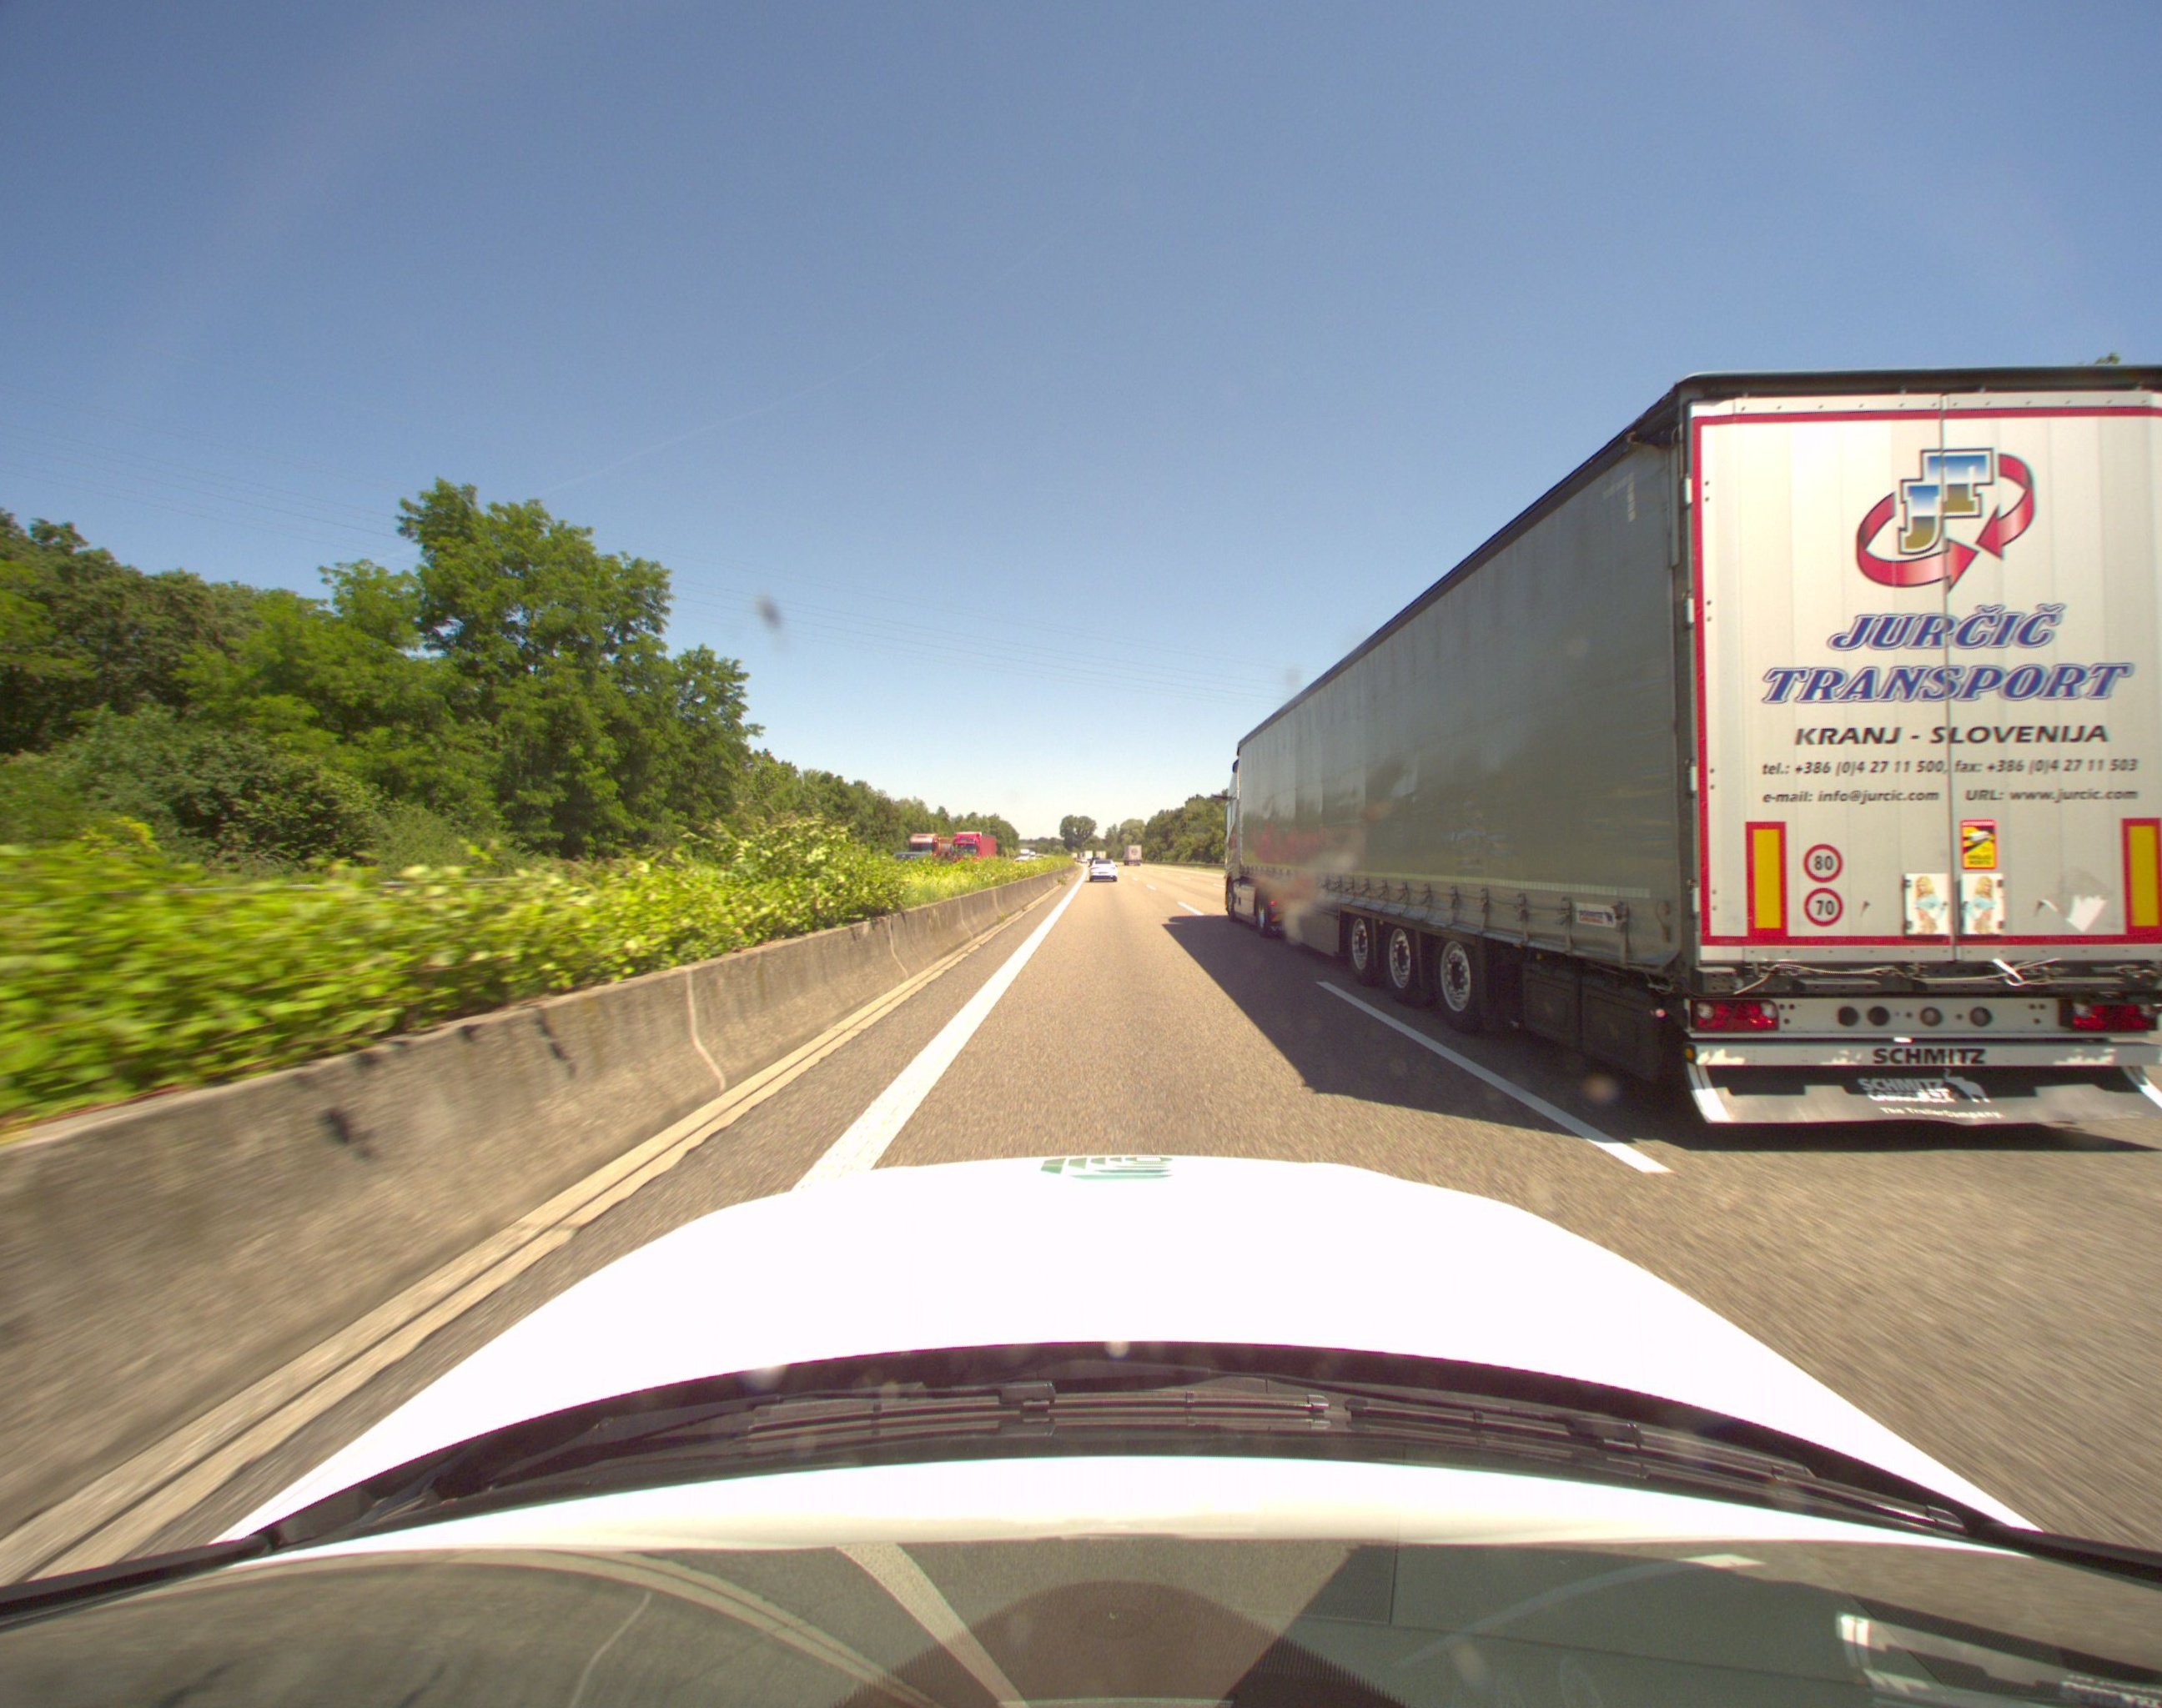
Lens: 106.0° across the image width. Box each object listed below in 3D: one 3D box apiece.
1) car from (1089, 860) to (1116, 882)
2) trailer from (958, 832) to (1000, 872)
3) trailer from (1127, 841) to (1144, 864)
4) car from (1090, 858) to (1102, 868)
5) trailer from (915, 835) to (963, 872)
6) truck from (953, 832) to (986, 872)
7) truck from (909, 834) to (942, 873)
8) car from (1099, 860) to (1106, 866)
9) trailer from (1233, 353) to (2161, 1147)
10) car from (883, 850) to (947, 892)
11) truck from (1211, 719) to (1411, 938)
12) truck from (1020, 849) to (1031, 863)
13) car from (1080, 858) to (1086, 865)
[{"bbox_3d":[1.444,1.113,53.529,1.709,1.369,3.377,0,0,2],"label":"car"},{"bbox_3d":[-10.742,-0.126,87.211,2.457,3.936,14.400,0,0,1],"label":"trailer"},{"bbox_3d":[10.757,-0.219,161.560,2.615,4.261,14.060,0,0,1],"label":"trailer"},{"bbox_3d":[2.635,1.526,138.841,1.986,1.772,4.001,0,0,1],"label":"car"},{"bbox_3d":[-14.777,-0.016,85.803,2.363,3.595,14.221,0,0,1],"label":"trailer"},{"bbox_3d":[-10.828,-0.161,79.535,2.457,3.788,5.728,0,0,0],"label":"truck"},{"bbox_3d":[-14.891,-0.064,78.291,2.349,3.601,4.164,0,0,0],"label":"truck"},{"bbox_3d":[5.692,2.424,216.393,1.718,1.585,4.000,0,0,1],"label":"car"},{"bbox_3d":[4.537,-0.491,10.906,2.730,3.975,13.657,0,0,1],"label":"trailer"},{"bbox_3d":[-7.659,0.767,38.089,1.868,1.821,5.143,0,0,1],"label":"car"},{"bbox_3d":[4.695,-0.451,18.028,2.713,3.975,6.502,0,0,1],"label":"truck"},{"bbox_3d":[-16.135,0.637,237.236,2.651,3.985,6.554,0,0,0],"label":"truck"},{"bbox_3d":[0.671,2.240,243.057,1.719,1.783,3.997,0,0,-2],"label":"car"}]
